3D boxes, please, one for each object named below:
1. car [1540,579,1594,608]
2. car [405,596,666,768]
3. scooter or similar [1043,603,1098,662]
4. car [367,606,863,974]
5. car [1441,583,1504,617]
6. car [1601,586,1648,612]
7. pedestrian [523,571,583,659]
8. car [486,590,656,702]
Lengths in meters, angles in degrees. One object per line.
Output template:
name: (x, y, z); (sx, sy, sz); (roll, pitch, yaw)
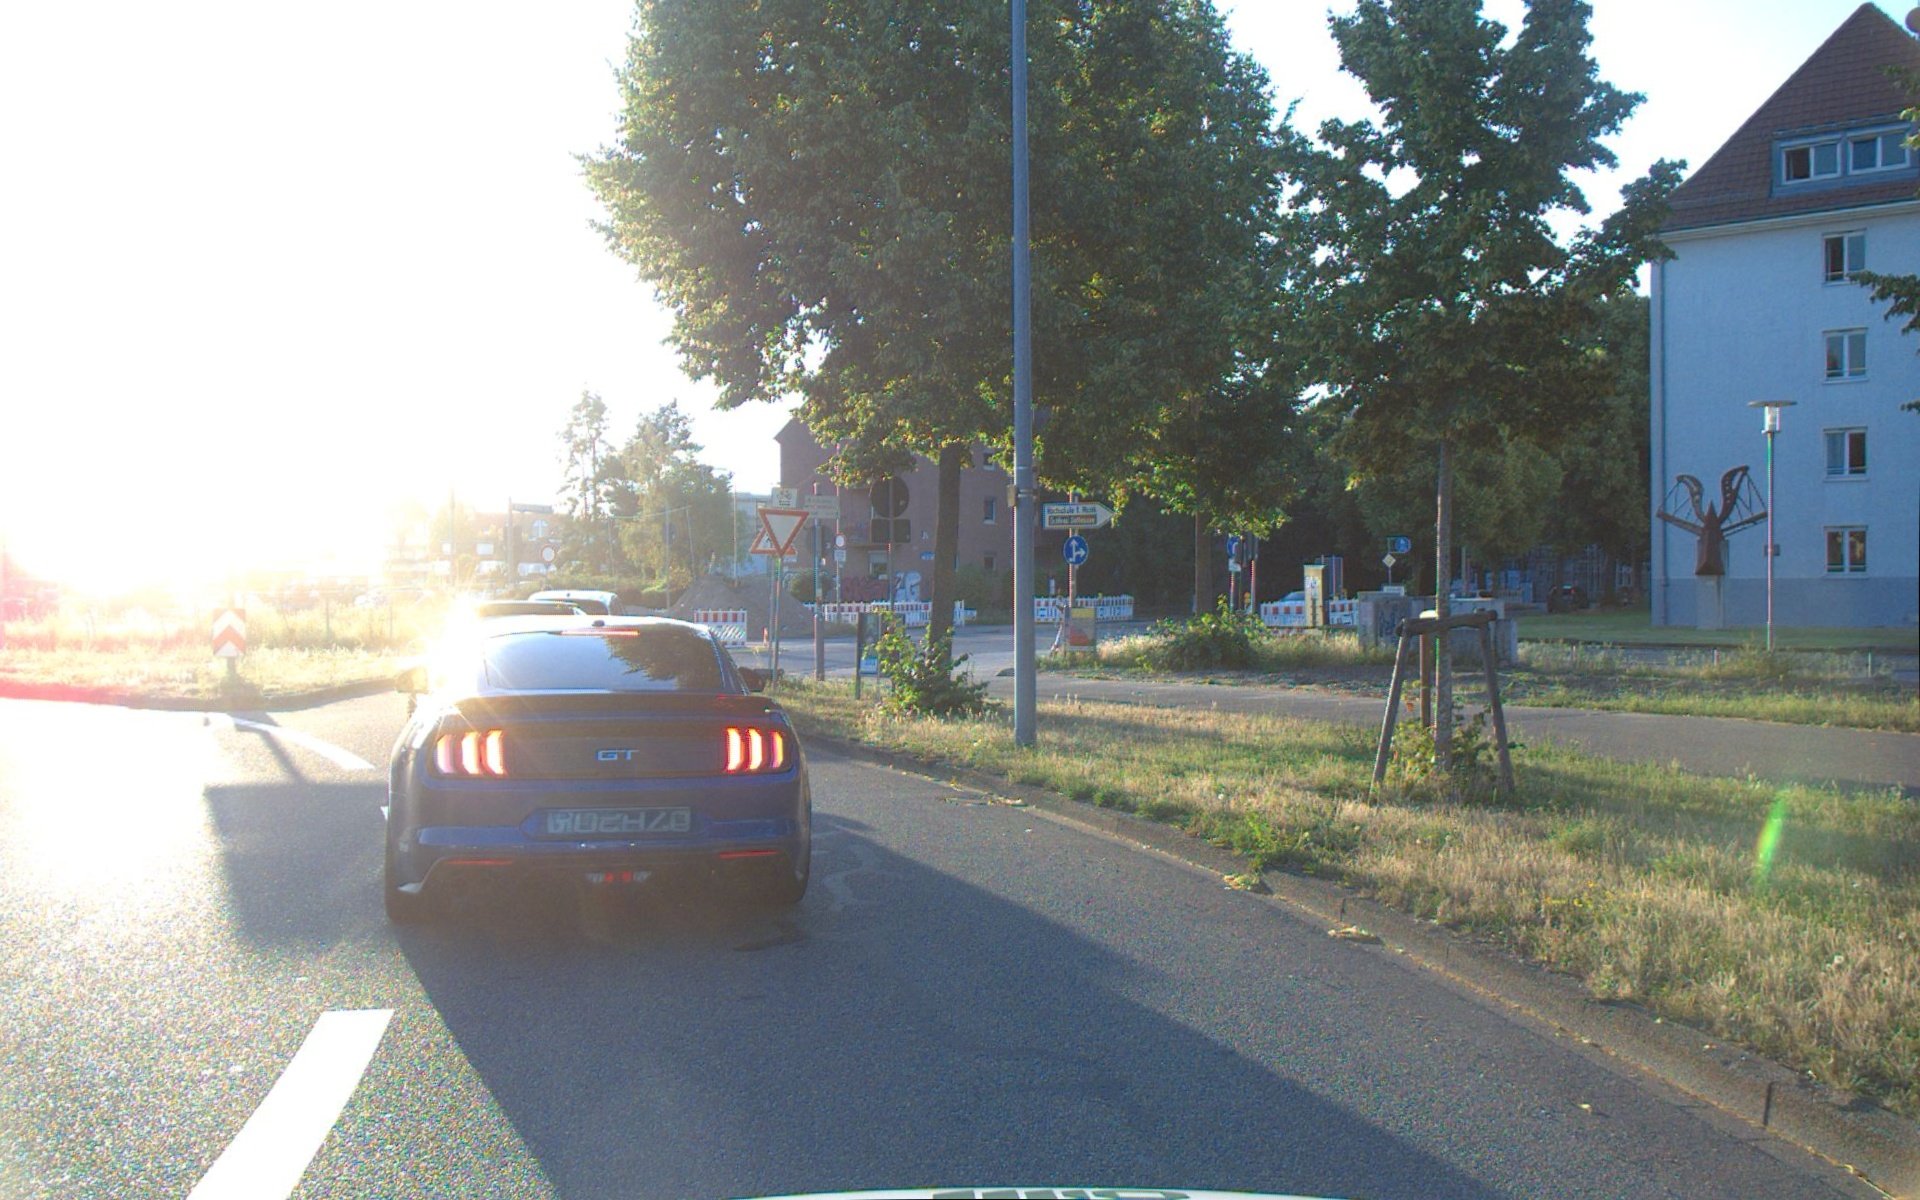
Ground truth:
car: (35.058, -0.391, 95.467); (1.919, 1.630, 4.062); (1, 0, 36)
car: (-4.324, 0.720, 16.337); (1.924, 1.452, 4.400); (2, -1, -22)
scooter or similar: (2.370, 0.690, 35.471); (1.102, 1.260, 0.440); (0, 0, -16)
car: (-1.980, 0.730, 8.764); (1.920, 1.365, 4.649); (0, 0, -17)
car: (25.465, 0.000, 82.159); (1.917, 1.630, 4.065); (1, 0, 34)
car: (43.057, -0.058, 107.154); (1.919, 1.630, 4.062); (1, 0, 36)
pedestrian: (-8.044, 0.286, 32.721); (0.839, 1.716, 0.873); (0, 0, -43)
car: (-6.095, 0.662, 26.363); (1.912, 1.630, 4.075); (0, 0, -3)
